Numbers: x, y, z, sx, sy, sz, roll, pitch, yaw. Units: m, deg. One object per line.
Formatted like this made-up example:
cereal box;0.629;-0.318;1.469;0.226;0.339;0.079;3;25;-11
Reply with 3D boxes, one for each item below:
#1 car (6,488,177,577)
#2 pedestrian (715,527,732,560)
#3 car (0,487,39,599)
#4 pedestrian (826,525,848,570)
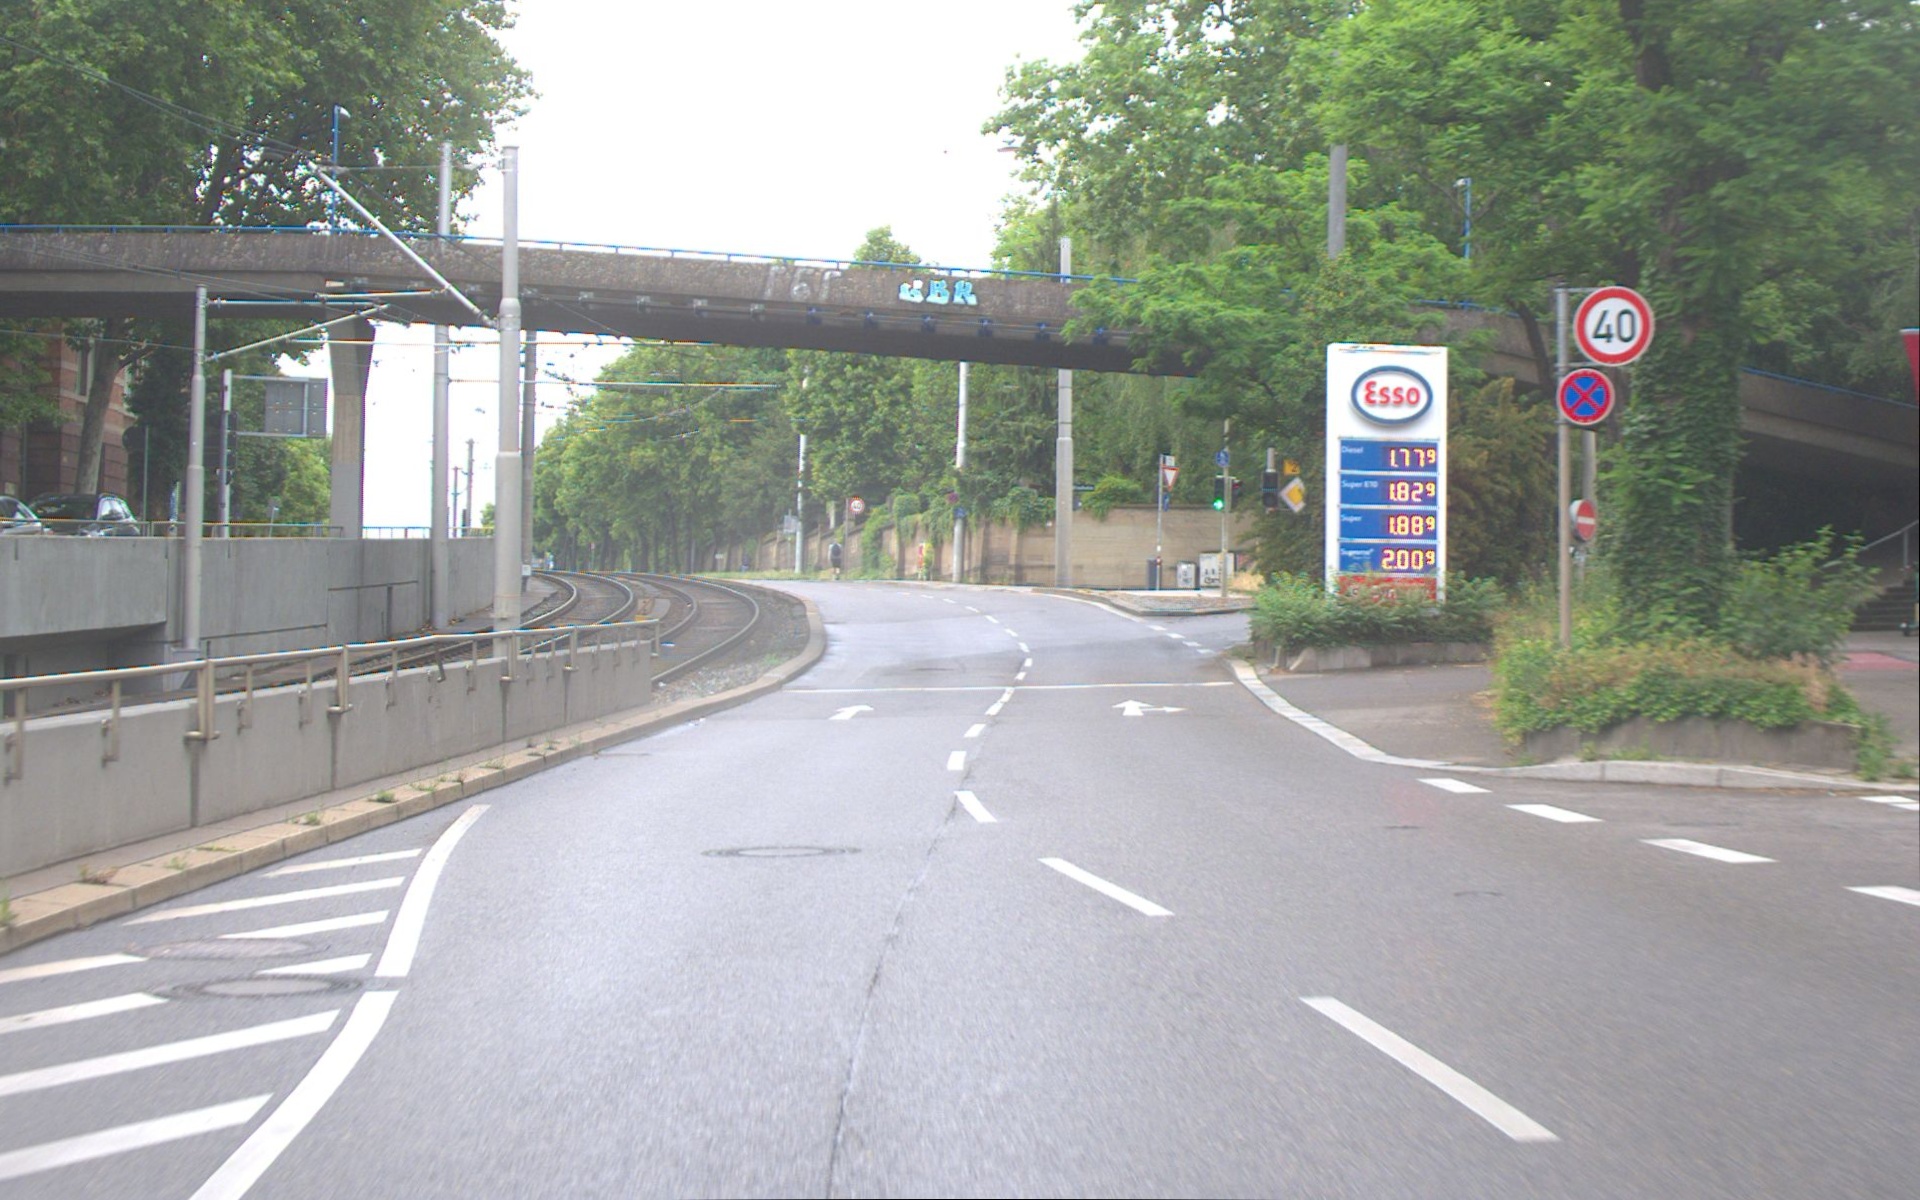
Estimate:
car;-15.925;-1.230;63.196;1.794;1.505;4.107;3;1;4
pedestrian;-12.042;-2.876;175.156;0.719;1.681;0.729;3;0;-10
car;-13.731;-0.798;45.581;1.794;1.505;4.000;3;1;2
pedestrian;-5.124;-2.194;143.213;0.719;1.843;0.783;3;0;-10
